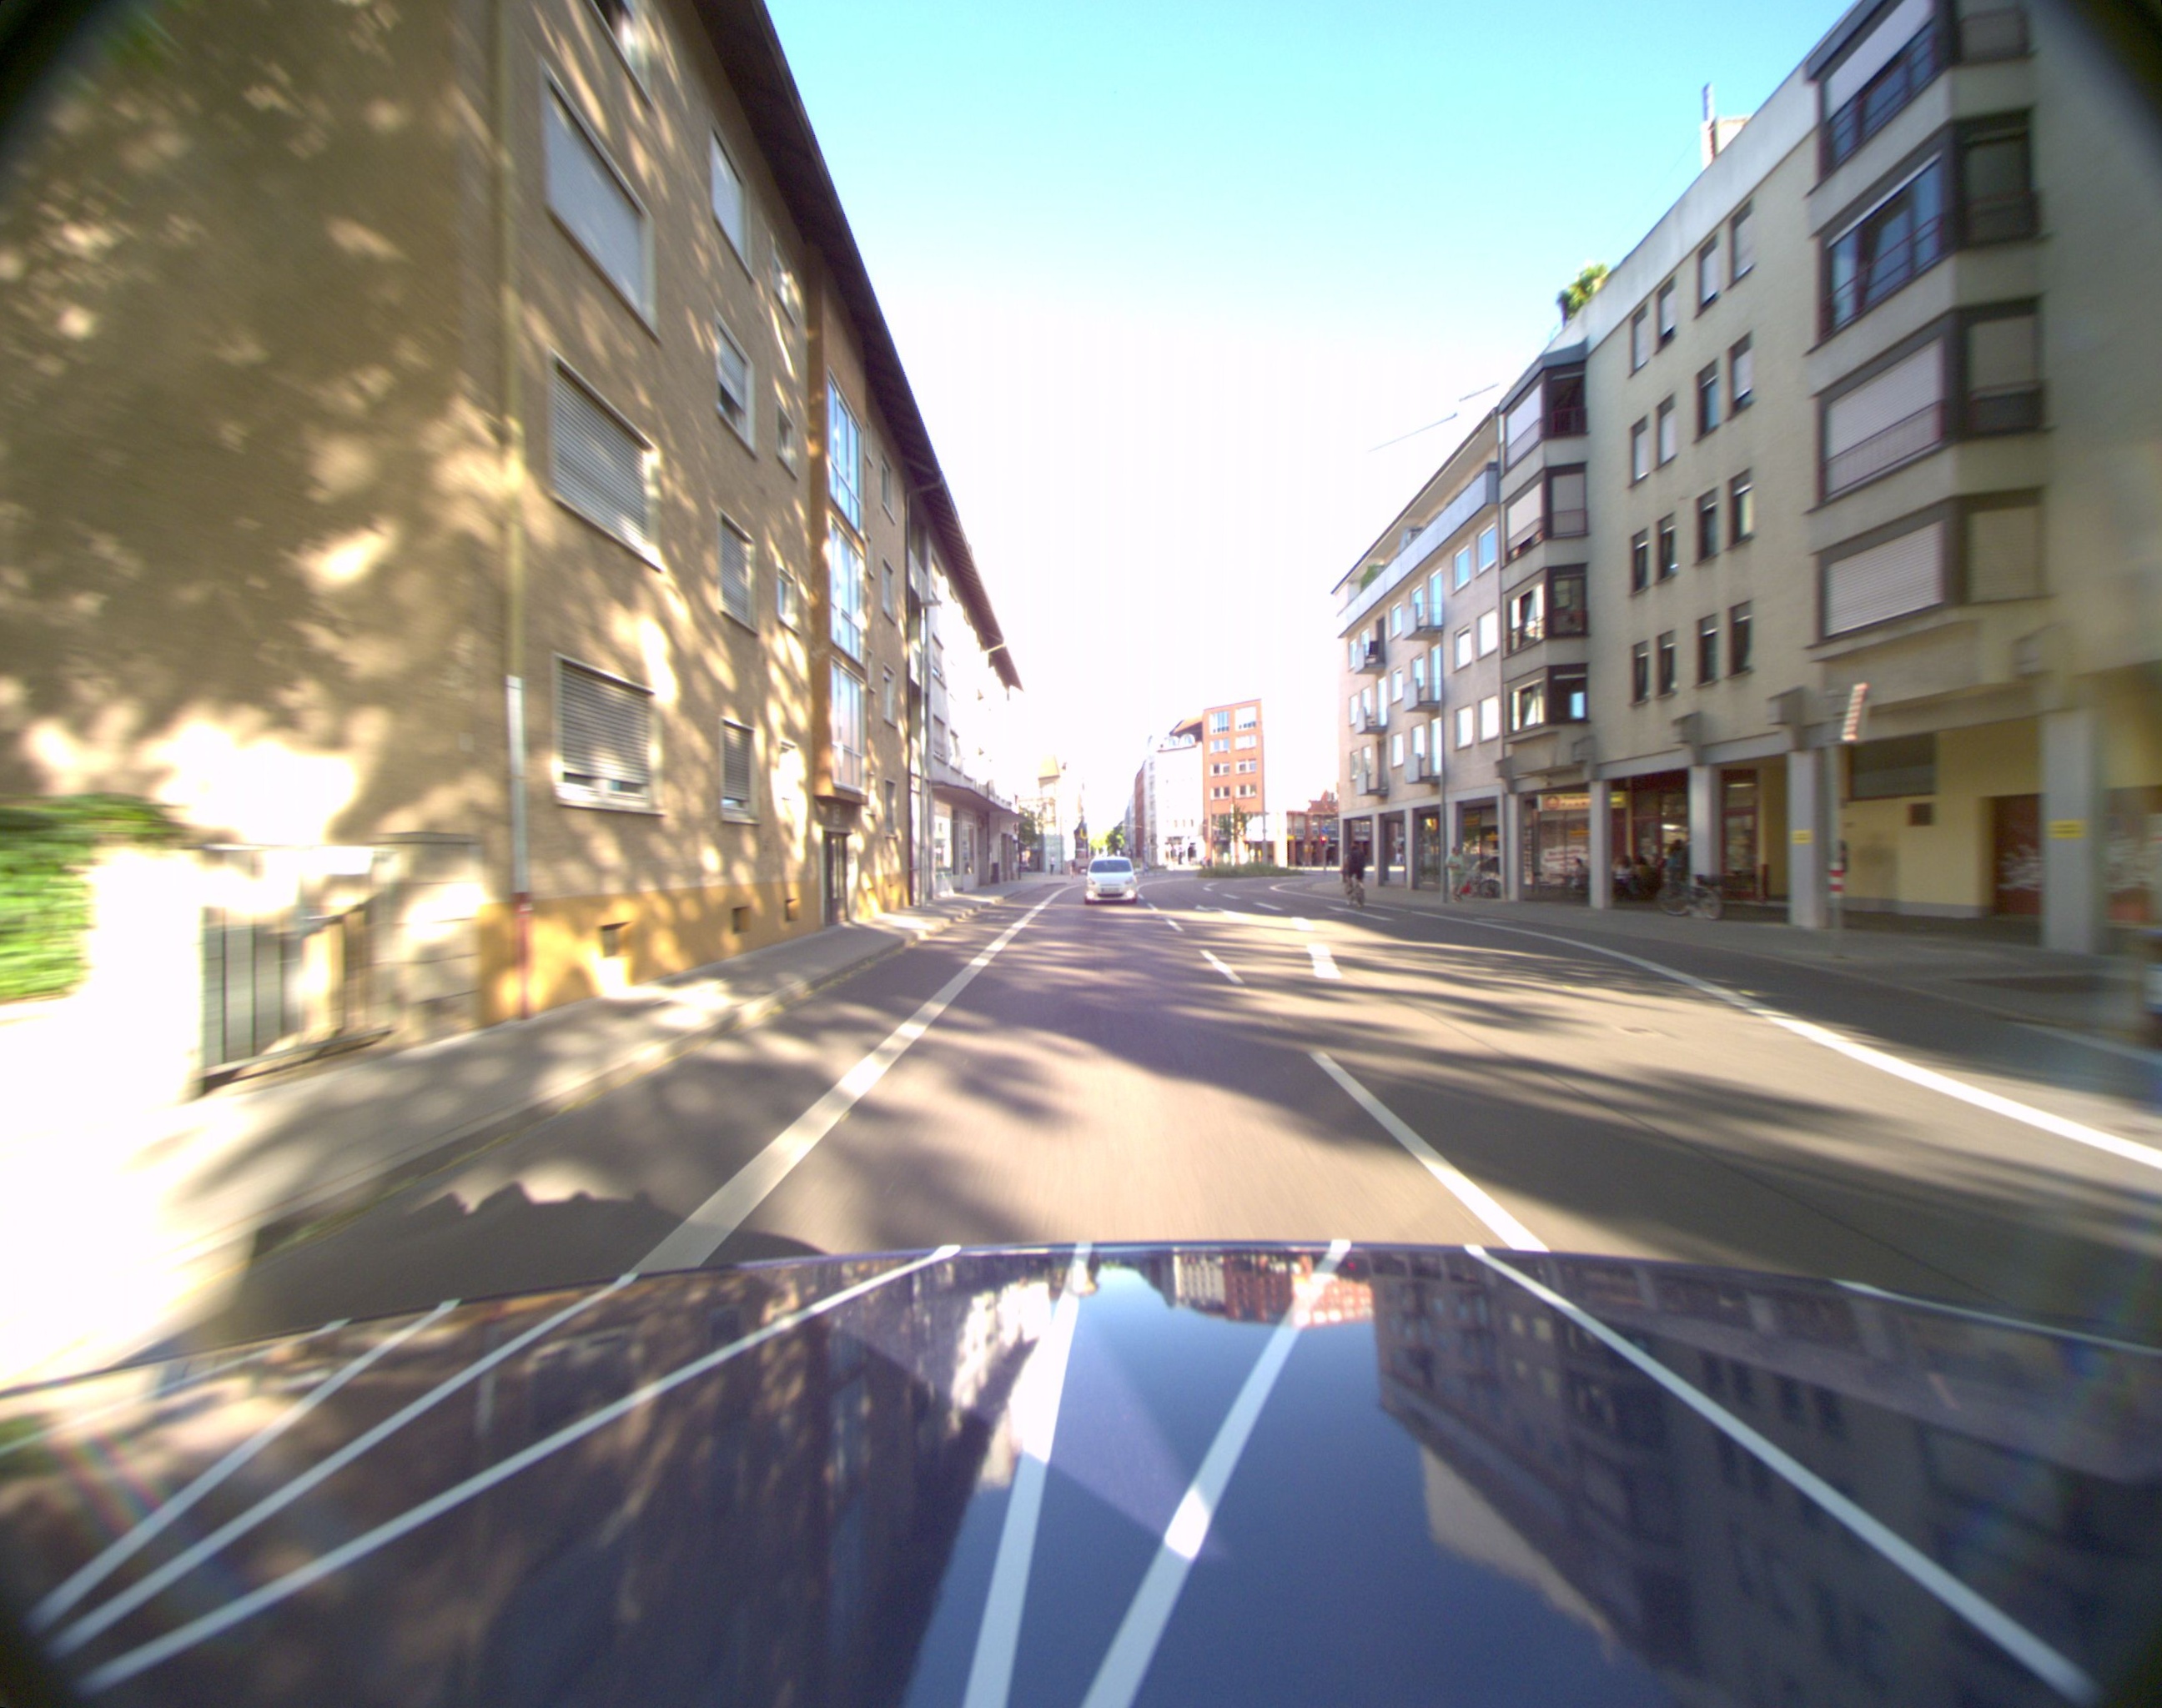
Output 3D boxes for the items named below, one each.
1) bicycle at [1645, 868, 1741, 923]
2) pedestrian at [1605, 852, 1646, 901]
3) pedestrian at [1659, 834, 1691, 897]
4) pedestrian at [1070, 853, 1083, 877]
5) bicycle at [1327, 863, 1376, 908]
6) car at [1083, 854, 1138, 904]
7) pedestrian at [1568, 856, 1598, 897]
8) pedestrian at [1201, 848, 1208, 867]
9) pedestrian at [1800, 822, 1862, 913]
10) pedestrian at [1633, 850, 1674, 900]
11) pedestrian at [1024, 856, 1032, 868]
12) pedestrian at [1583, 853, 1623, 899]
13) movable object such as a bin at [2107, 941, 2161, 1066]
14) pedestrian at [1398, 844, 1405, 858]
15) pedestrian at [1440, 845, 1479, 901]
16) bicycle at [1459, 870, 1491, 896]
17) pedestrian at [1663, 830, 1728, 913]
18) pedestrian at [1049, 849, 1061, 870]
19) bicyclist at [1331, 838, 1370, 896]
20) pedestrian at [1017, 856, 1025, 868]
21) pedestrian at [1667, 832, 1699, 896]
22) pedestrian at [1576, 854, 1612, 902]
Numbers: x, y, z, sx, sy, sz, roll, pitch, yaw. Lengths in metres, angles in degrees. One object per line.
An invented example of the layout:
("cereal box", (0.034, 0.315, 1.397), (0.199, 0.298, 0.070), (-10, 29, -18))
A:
("bicycle", (13.022, 0.854, 16.244), (0.449, 1.039, 2.011), (-1, 0, 1))
("pedestrian", (15.435, 0.631, 21.549), (0.710, 1.345, 0.615), (-2, 1, 7))
("pedestrian", (15.993, 0.292, 20.456), (0.613, 1.656, 0.713), (-1, 1, 43))
("pedestrian", (-0.331, 0.842, 57.994), (0.706, 1.809, 0.708), (2, 1, 17))
("bicycle", (7.832, 0.877, 22.120), (0.730, 1.193, 2.179), (0, 1, 3))
("car", (1.038, 0.763, 25.045), (1.682, 1.490, 3.686), (-1, 1, 4))
("pedestrian", (15.688, 0.696, 23.755), (0.568, 1.260, 0.689), (-2, 1, 12))
("pedestrian", (11.634, 0.360, 71.396), (0.593, 1.737, 0.502), (-2, 1, 10))
("pedestrian", (15.717, 0.272, 15.937), (0.613, 1.859, 0.797), (-2, 1, 18))
("pedestrian", (16.142, 0.586, 21.441), (0.710, 1.370, 0.615), (-2, 1, 7))
("pedestrian", (-5.605, 0.880, 80.652), (0.707, 1.225, 0.770), (2, 1, -8))
("pedestrian", (15.665, 0.655, 22.825), (0.710, 1.328, 0.740), (-2, 1, 6))
("movable object such as a bin", (8.373, 1.140, 5.695), (0.542, 0.896, 0.604), (-1, 1, 1))
("pedestrian", (41.992, -0.419, 99.477), (0.553, 1.737, 0.716), (-1, 2, 45))
("pedestrian", (12.060, 0.594, 24.224), (0.834, 1.730, 0.723), (-2, 1, 2))
("bicycle", (13.360, 0.975, 25.775), (0.359, 0.819, 1.524), (-1, 0, 3))
("pedestrian", (14.364, 0.398, 17.785), (0.825, 1.859, 0.806), (-2, 1, 0))
("pedestrian", (-2.254, 0.504, 66.263), (0.709, 1.809, 0.705), (1, 2, -42))
("bicyclist", (7.824, 0.367, 22.100), (0.730, 1.632, 1.168), (-1, 1, 3))
("pedestrian", (-6.372, 0.860, 80.544), (0.707, 1.235, 0.765), (2, 1, -8))
("pedestrian", (16.585, 0.262, 20.930), (0.613, 1.732, 0.713), (-1, 1, 43))
("pedestrian", (14.992, 0.690, 22.220), (0.614, 1.360, 0.711), (-2, 1, 7))
